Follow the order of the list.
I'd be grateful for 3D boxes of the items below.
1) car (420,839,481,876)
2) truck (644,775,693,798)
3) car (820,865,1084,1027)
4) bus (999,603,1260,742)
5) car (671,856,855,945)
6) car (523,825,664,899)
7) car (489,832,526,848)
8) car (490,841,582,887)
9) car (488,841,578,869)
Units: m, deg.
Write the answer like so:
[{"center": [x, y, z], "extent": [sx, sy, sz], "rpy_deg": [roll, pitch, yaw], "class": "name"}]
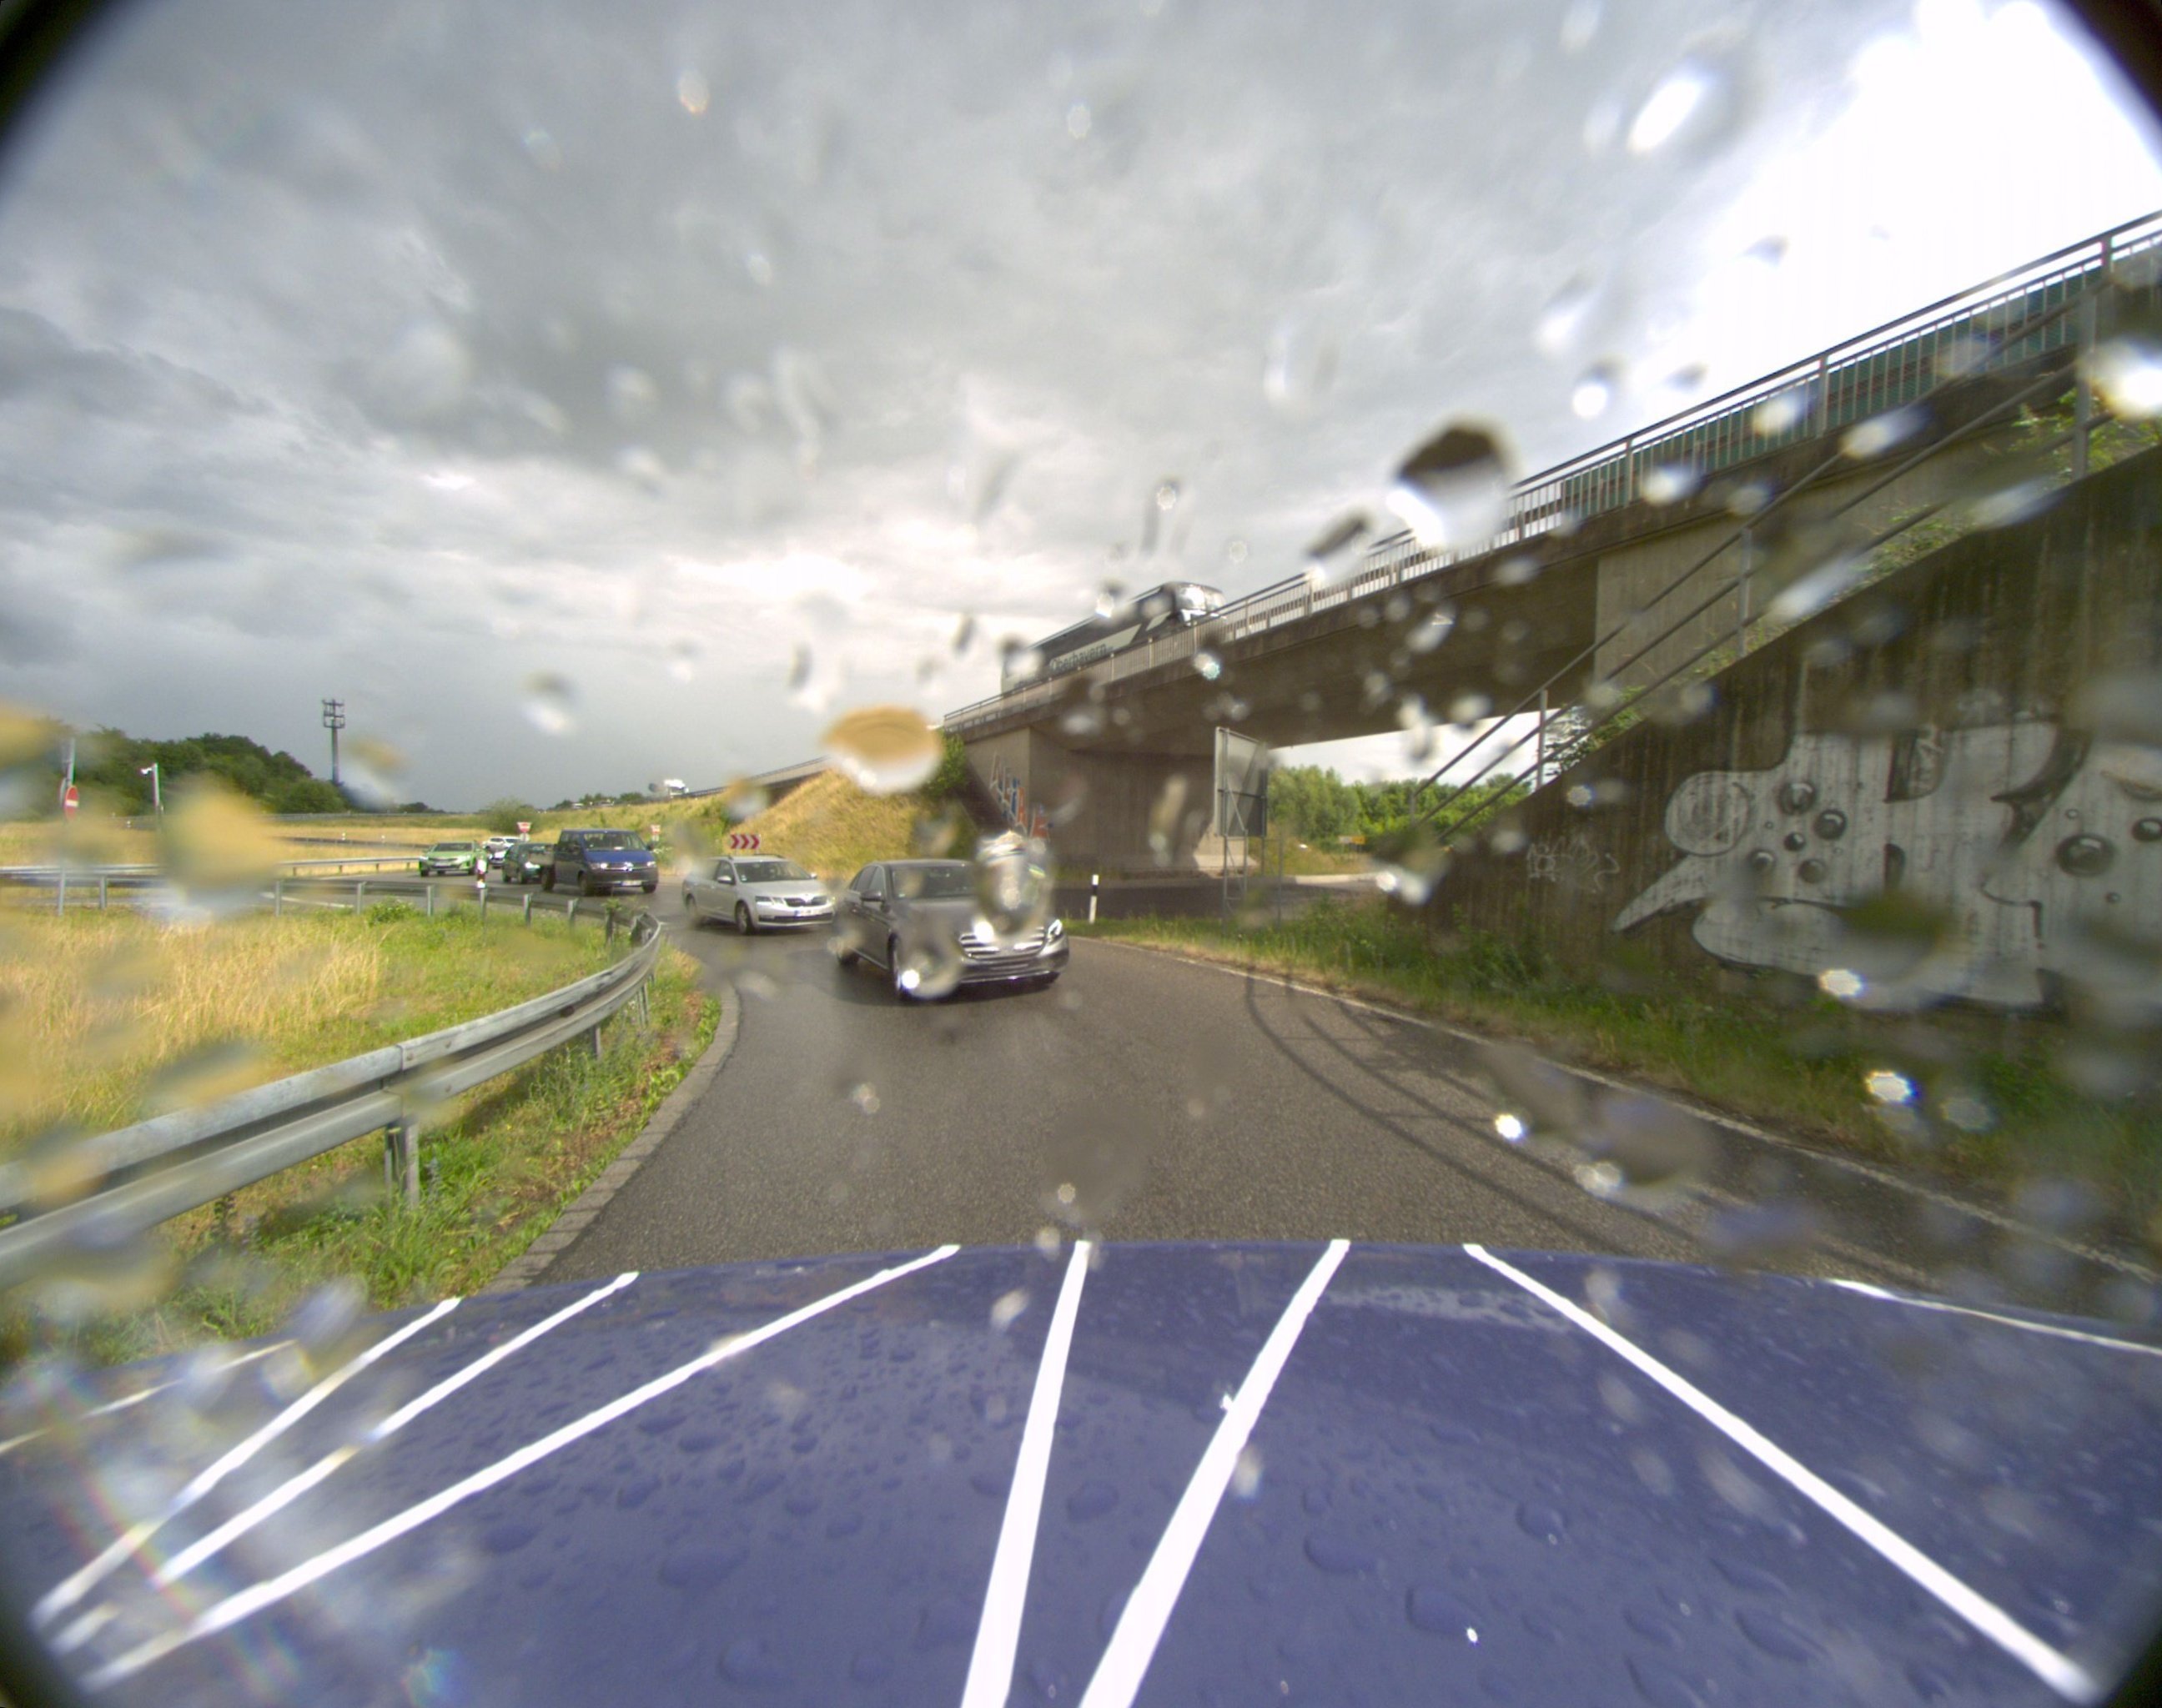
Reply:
[{"center": [-27.382, 0.101, 33.101], "extent": [1.621, 1.466, 3.835], "rpy_deg": [-1, 2, -33], "class": "car"}, {"center": [-63.271, -10.319, 116.508], "extent": [9.250, 3.177, 3.167], "rpy_deg": [2, 4, 39], "class": "truck"}, {"center": [-1.880, 0.895, 9.513], "extent": [1.774, 1.383, 4.580], "rpy_deg": [-2, 1, -30], "class": "car"}, {"center": [1.103, -6.859, 31.337], "extent": [2.617, 3.063, 14.422], "rpy_deg": [-2, 3, -33], "class": "bus"}, {"center": [-6.533, 0.816, 15.356], "extent": [4.336, 1.391, 1.801], "rpy_deg": [1, 4, 44], "class": "car"}, {"center": [-14.899, 0.135, 23.077], "extent": [5.664, 1.904, 1.897], "rpy_deg": [3, 3, 39], "class": "car"}, {"center": [-47.607, -1.153, 63.010], "extent": [3.762, 1.283, 1.715], "rpy_deg": [2, 2, 41], "class": "car"}, {"center": [-19.620, 0.309, 27.295], "extent": [3.834, 1.466, 1.661], "rpy_deg": [2, 2, 38], "class": "car"}, {"center": [-30.550, 0.000, 42.505], "extent": [1.615, 1.466, 3.934], "rpy_deg": [1, 1, 15], "class": "car"}]
